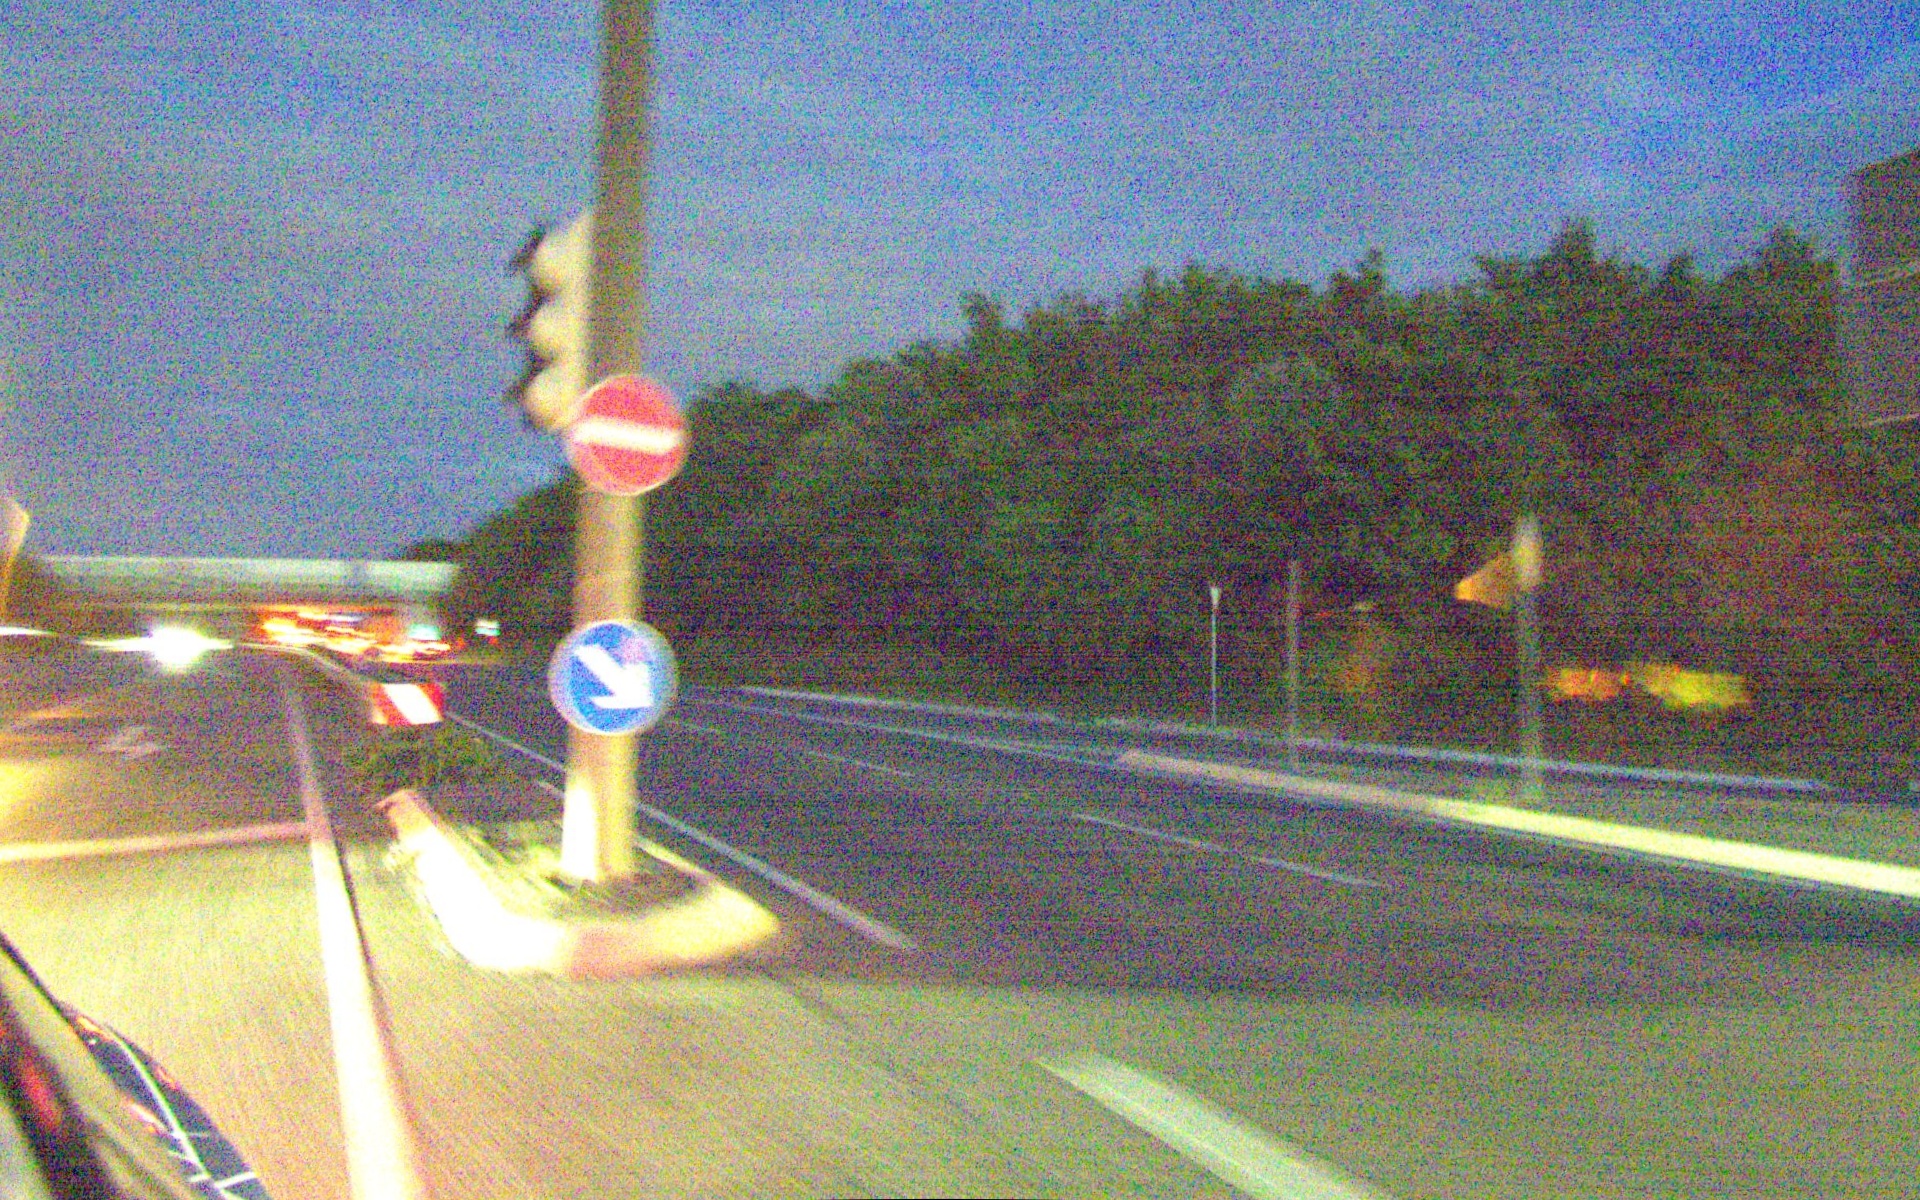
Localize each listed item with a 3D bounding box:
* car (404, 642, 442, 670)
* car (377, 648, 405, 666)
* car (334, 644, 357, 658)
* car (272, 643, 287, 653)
[{"bbox_3d":[-32.674,3.395,61.575,1.524,1.531,3.524,5,-5,-34],"label":"car"},{"bbox_3d":[-52.057,5.178,92.488,1.927,1.498,4.711,5,-5,-32],"label":"car"},{"bbox_3d":[-74.041,6.144,121.904,2.093,1.643,4.710,3,-4,-35],"label":"car"},{"bbox_3d":[-112.193,7.952,166.811,1.900,1.530,4.009,3,-4,-35],"label":"car"}]
